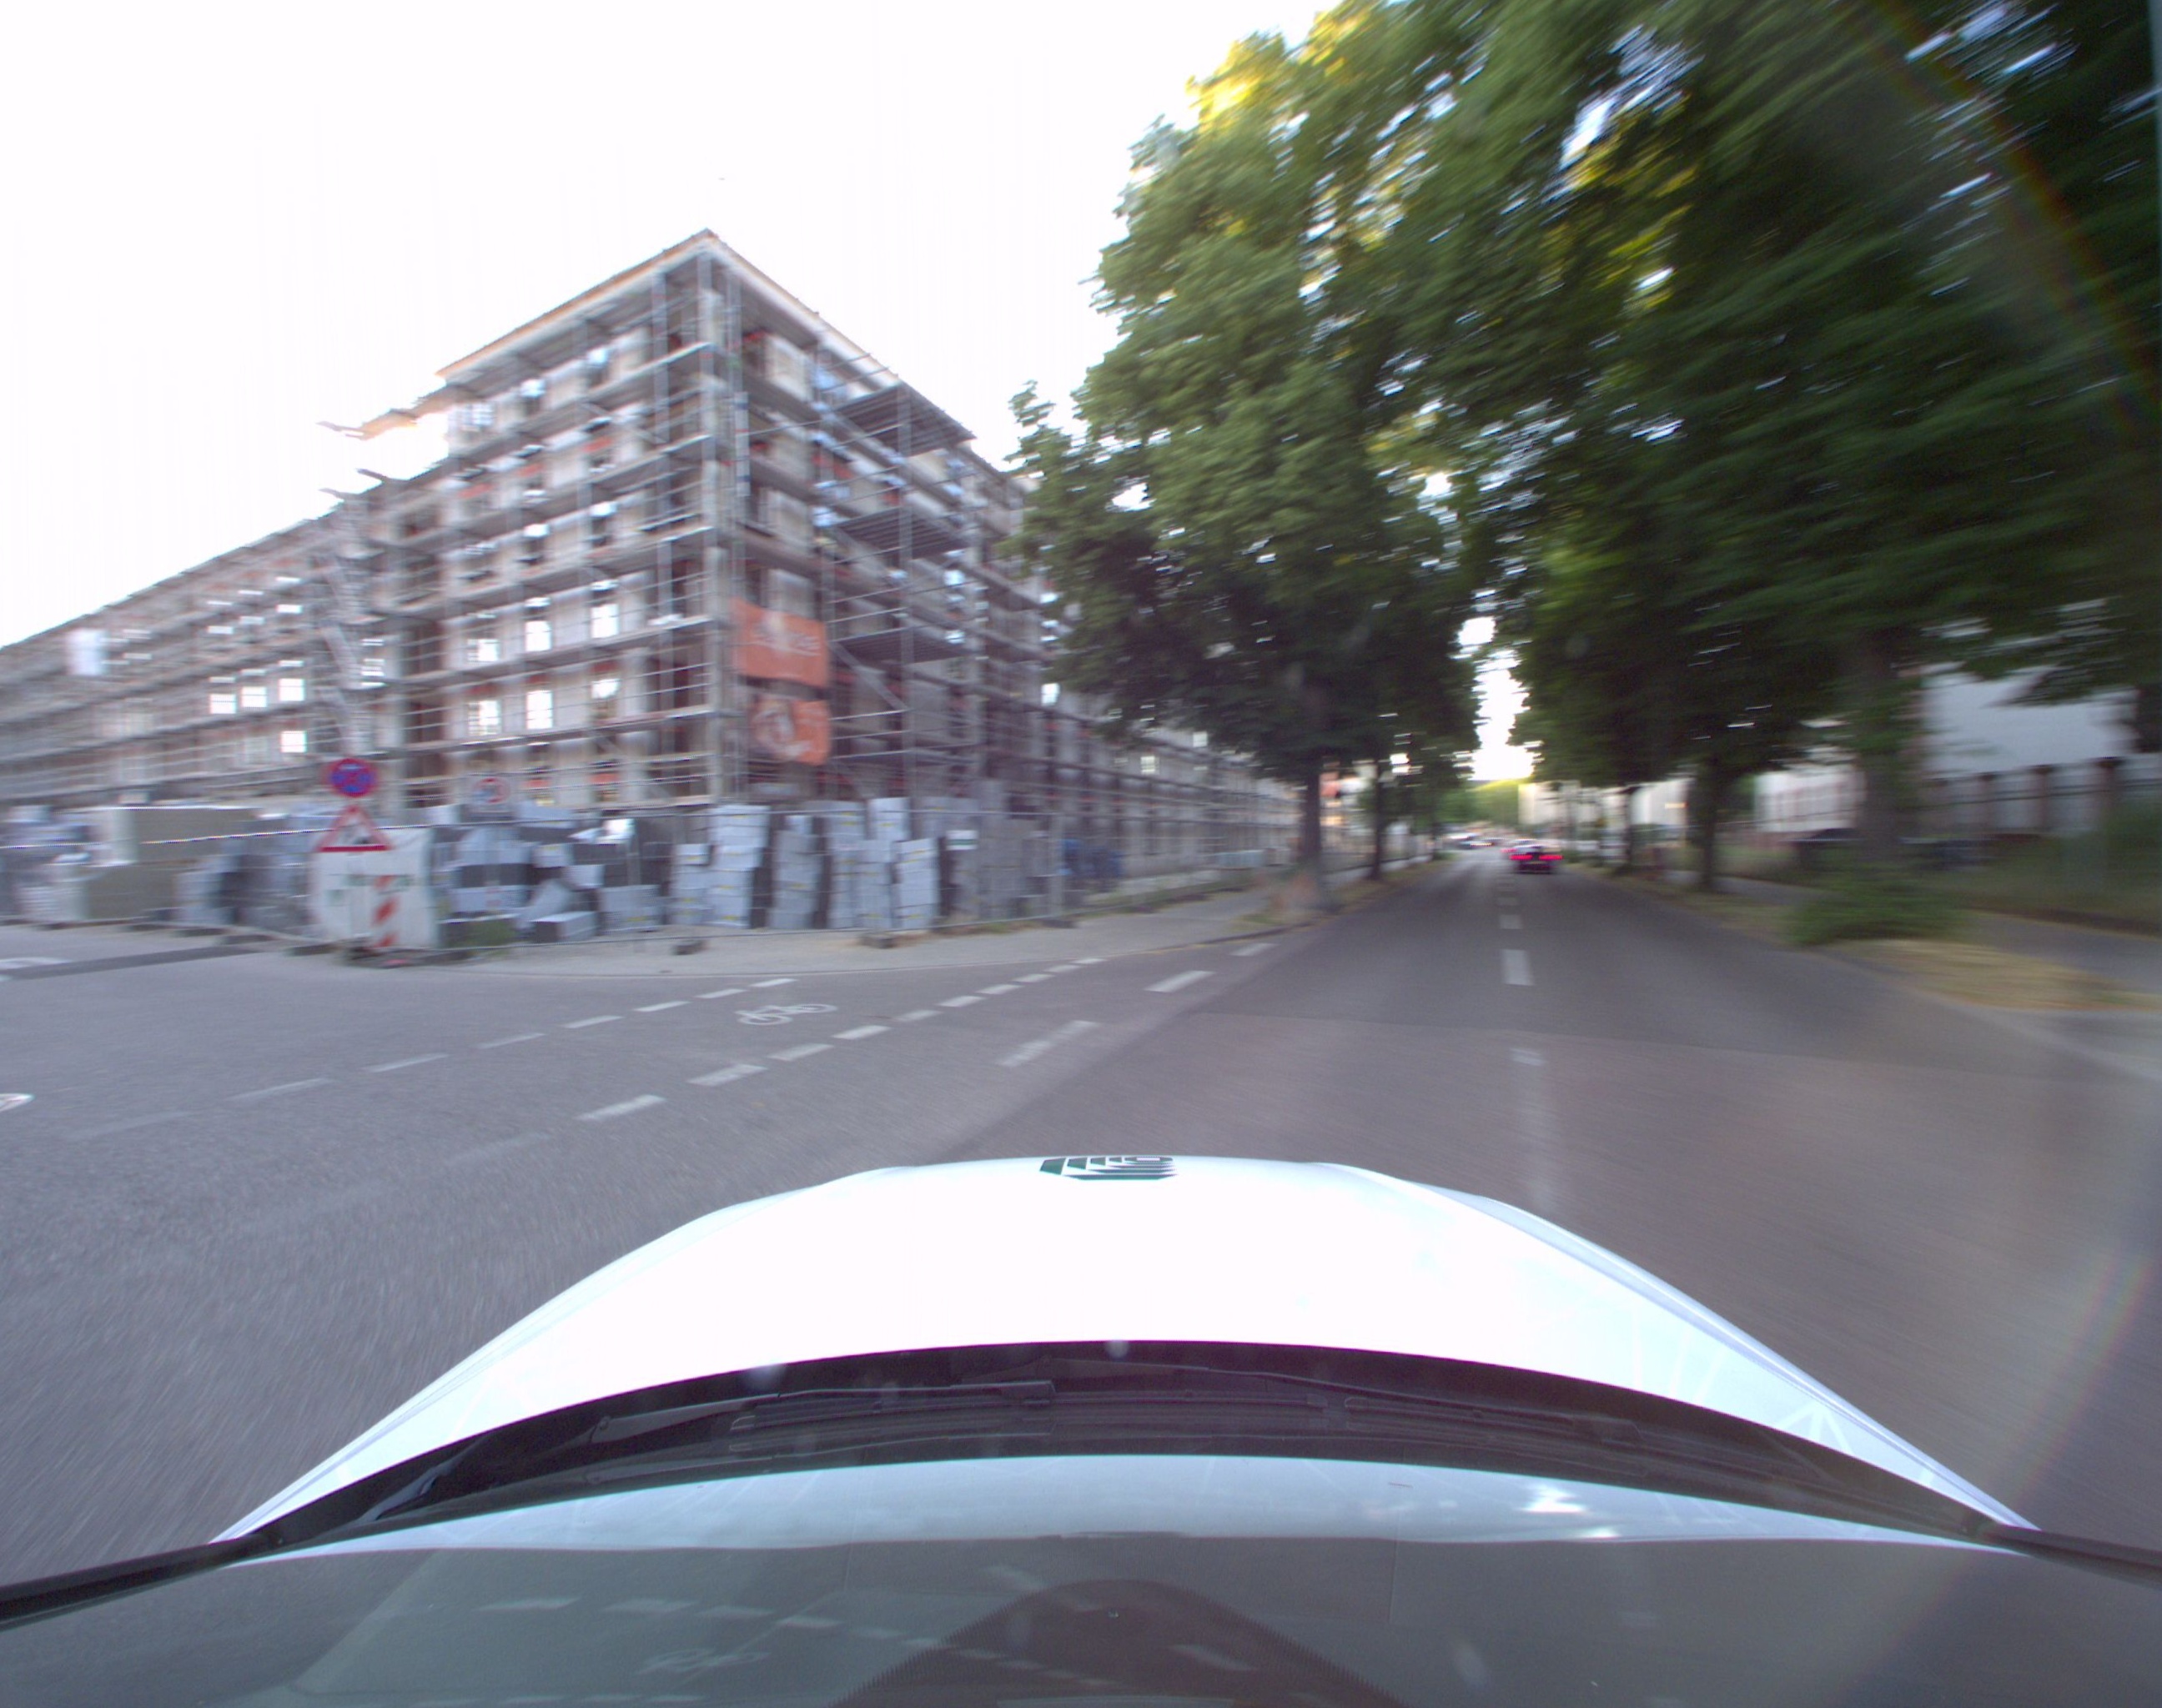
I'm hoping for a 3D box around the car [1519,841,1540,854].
[{"bbox_3d":[48.926,-0.745,88.871,1.929,1.326,4.025,1,2,28],"label":"car"}]

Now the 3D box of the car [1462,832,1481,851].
[{"bbox_3d":[57.739,-1.869,120.450,2.469,2.696,5.865,-1,1,26],"label":"car"}]

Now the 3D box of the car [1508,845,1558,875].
[{"bbox_3d":[21.816,0.241,39.439,1.929,1.326,4.024,1,2,26],"label":"car"}]

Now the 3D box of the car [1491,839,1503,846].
[{"bbox_3d":[79.474,-2.210,155.615,1.929,1.326,4.024,1,2,26],"label":"car"}]

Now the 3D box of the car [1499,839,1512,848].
[{"bbox_3d":[70.029,-1.748,134.391,1.929,1.326,4.024,1,2,26],"label":"car"}]

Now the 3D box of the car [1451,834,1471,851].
[{"bbox_3d":[51.605,-1.557,110.641,2.315,2.197,5.340,-1,1,25],"label":"car"}]
